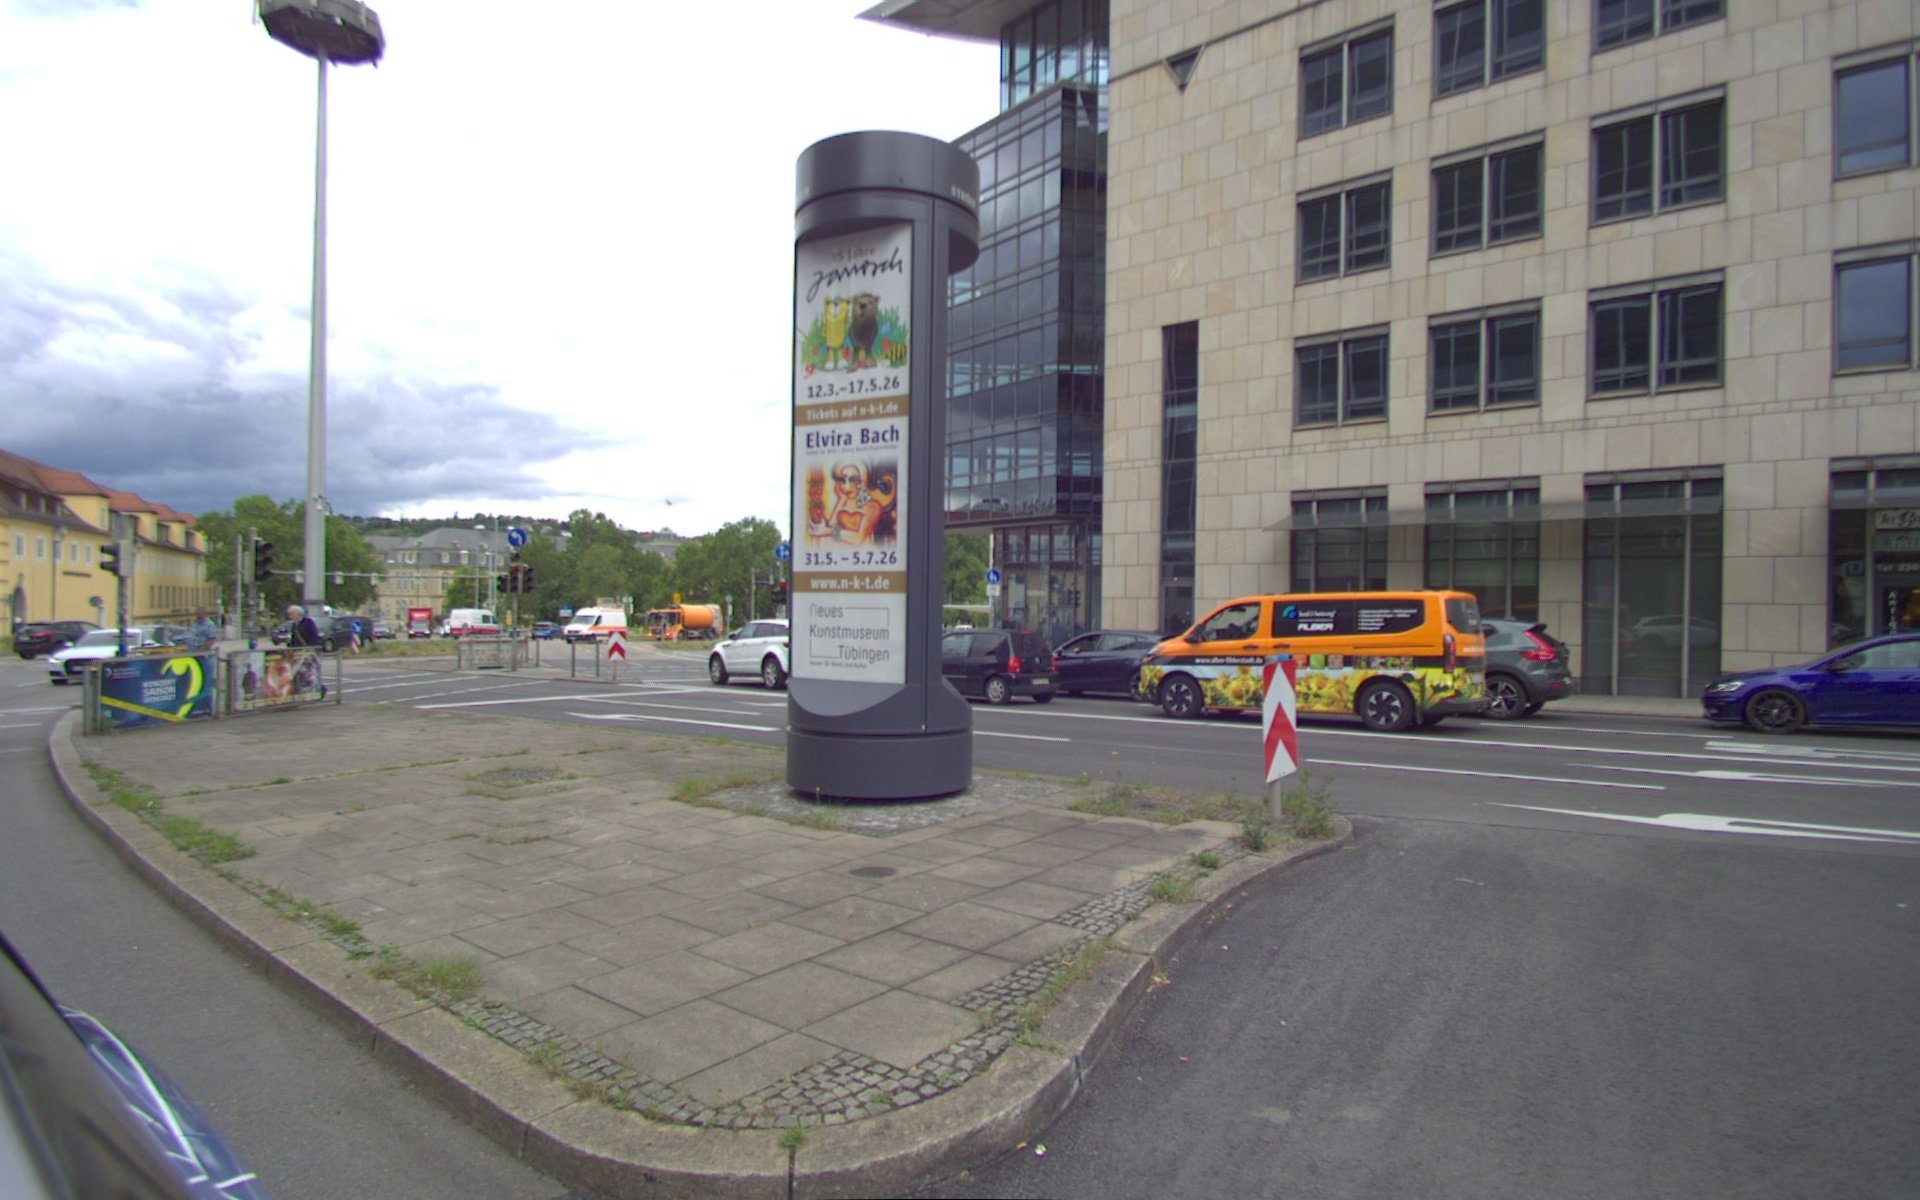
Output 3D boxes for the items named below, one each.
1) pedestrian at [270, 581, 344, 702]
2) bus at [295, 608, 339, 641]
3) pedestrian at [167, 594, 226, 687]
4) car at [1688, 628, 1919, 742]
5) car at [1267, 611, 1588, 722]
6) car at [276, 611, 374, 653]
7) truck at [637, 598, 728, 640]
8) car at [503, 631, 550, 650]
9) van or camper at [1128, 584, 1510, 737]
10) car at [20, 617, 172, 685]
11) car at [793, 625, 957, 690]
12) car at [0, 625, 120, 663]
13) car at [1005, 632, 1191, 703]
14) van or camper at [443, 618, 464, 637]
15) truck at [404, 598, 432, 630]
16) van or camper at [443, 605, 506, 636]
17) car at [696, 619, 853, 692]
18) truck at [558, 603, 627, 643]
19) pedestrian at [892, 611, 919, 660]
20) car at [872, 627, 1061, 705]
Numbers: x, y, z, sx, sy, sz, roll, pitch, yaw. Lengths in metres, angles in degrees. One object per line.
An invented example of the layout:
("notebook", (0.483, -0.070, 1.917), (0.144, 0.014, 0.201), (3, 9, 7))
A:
("pedestrian", (-12.113, 0.759, 18.789), (0.758, 2.189, 0.872), (-1, -2, 22))
("bus", (-67.382, 2.565, 106.263), (3.377, 3.228, 13.102), (0, -2, -30))
("pedestrian", (-15.262, 0.831, 20.228), (0.634, 1.804, 0.708), (-3, -6, 40))
("car", (12.644, 1.092, 13.510), (4.571, 1.406, 1.972), (-2, -2, 42))
("car", (7.933, 1.086, 17.443), (4.680, 1.658, 1.973), (-2, -3, 40))
("car", (-32.514, 1.620, 51.994), (1.837, 2.003, 4.634), (1, -1, 5))
("truck", (-25.794, 1.833, 94.593), (2.716, 3.644, 9.090), (-3, -4, 28))
("car", (-36.377, 3.394, 85.029), (1.922, 1.494, 4.625), (-2, -2, 2))
("van or camper", (5.222, 0.851, 15.223), (5.080, 1.936, 1.893), (-2, -3, 40))
("car", (-23.832, 1.471, 28.135), (2.061, 1.621, 4.426), (-3, -3, -25))
("car", (-2.246, 1.431, 26.074), (4.090, 1.537, 1.972), (-2, -2, 42))
("car", (-39.463, 1.906, 44.410), (2.000, 1.588, 3.757), (-2, -2, 42))
("car", (2.828, 1.361, 21.163), (3.631, 1.352, 1.540), (-2, -3, 42))
("van or camper", (-51.705, 2.778, 103.289), (1.834, 1.931, 4.728), (0, -1, -28))
("truck", (-63.512, 1.684, 118.520), (2.744, 3.516, 8.376), (1, -2, -29))
("van or camper", (-40.845, 1.768, 85.388), (2.118, 2.496, 6.156), (0, -2, 2))
("car", (-4.553, 1.280, 24.450), (1.713, 1.611, 4.324), (1, -2, -42))
("truck", (-26.760, 1.733, 73.930), (1.936, 2.805, 5.766), (0, -2, 12))
("pedestrian", (-1.910, 1.234, 35.625), (0.595, 1.643, 0.789), (-4, 3, -28))
("car", (0.074, 1.255, 19.914), (3.631, 1.390, 1.540), (-2, -3, 42))
